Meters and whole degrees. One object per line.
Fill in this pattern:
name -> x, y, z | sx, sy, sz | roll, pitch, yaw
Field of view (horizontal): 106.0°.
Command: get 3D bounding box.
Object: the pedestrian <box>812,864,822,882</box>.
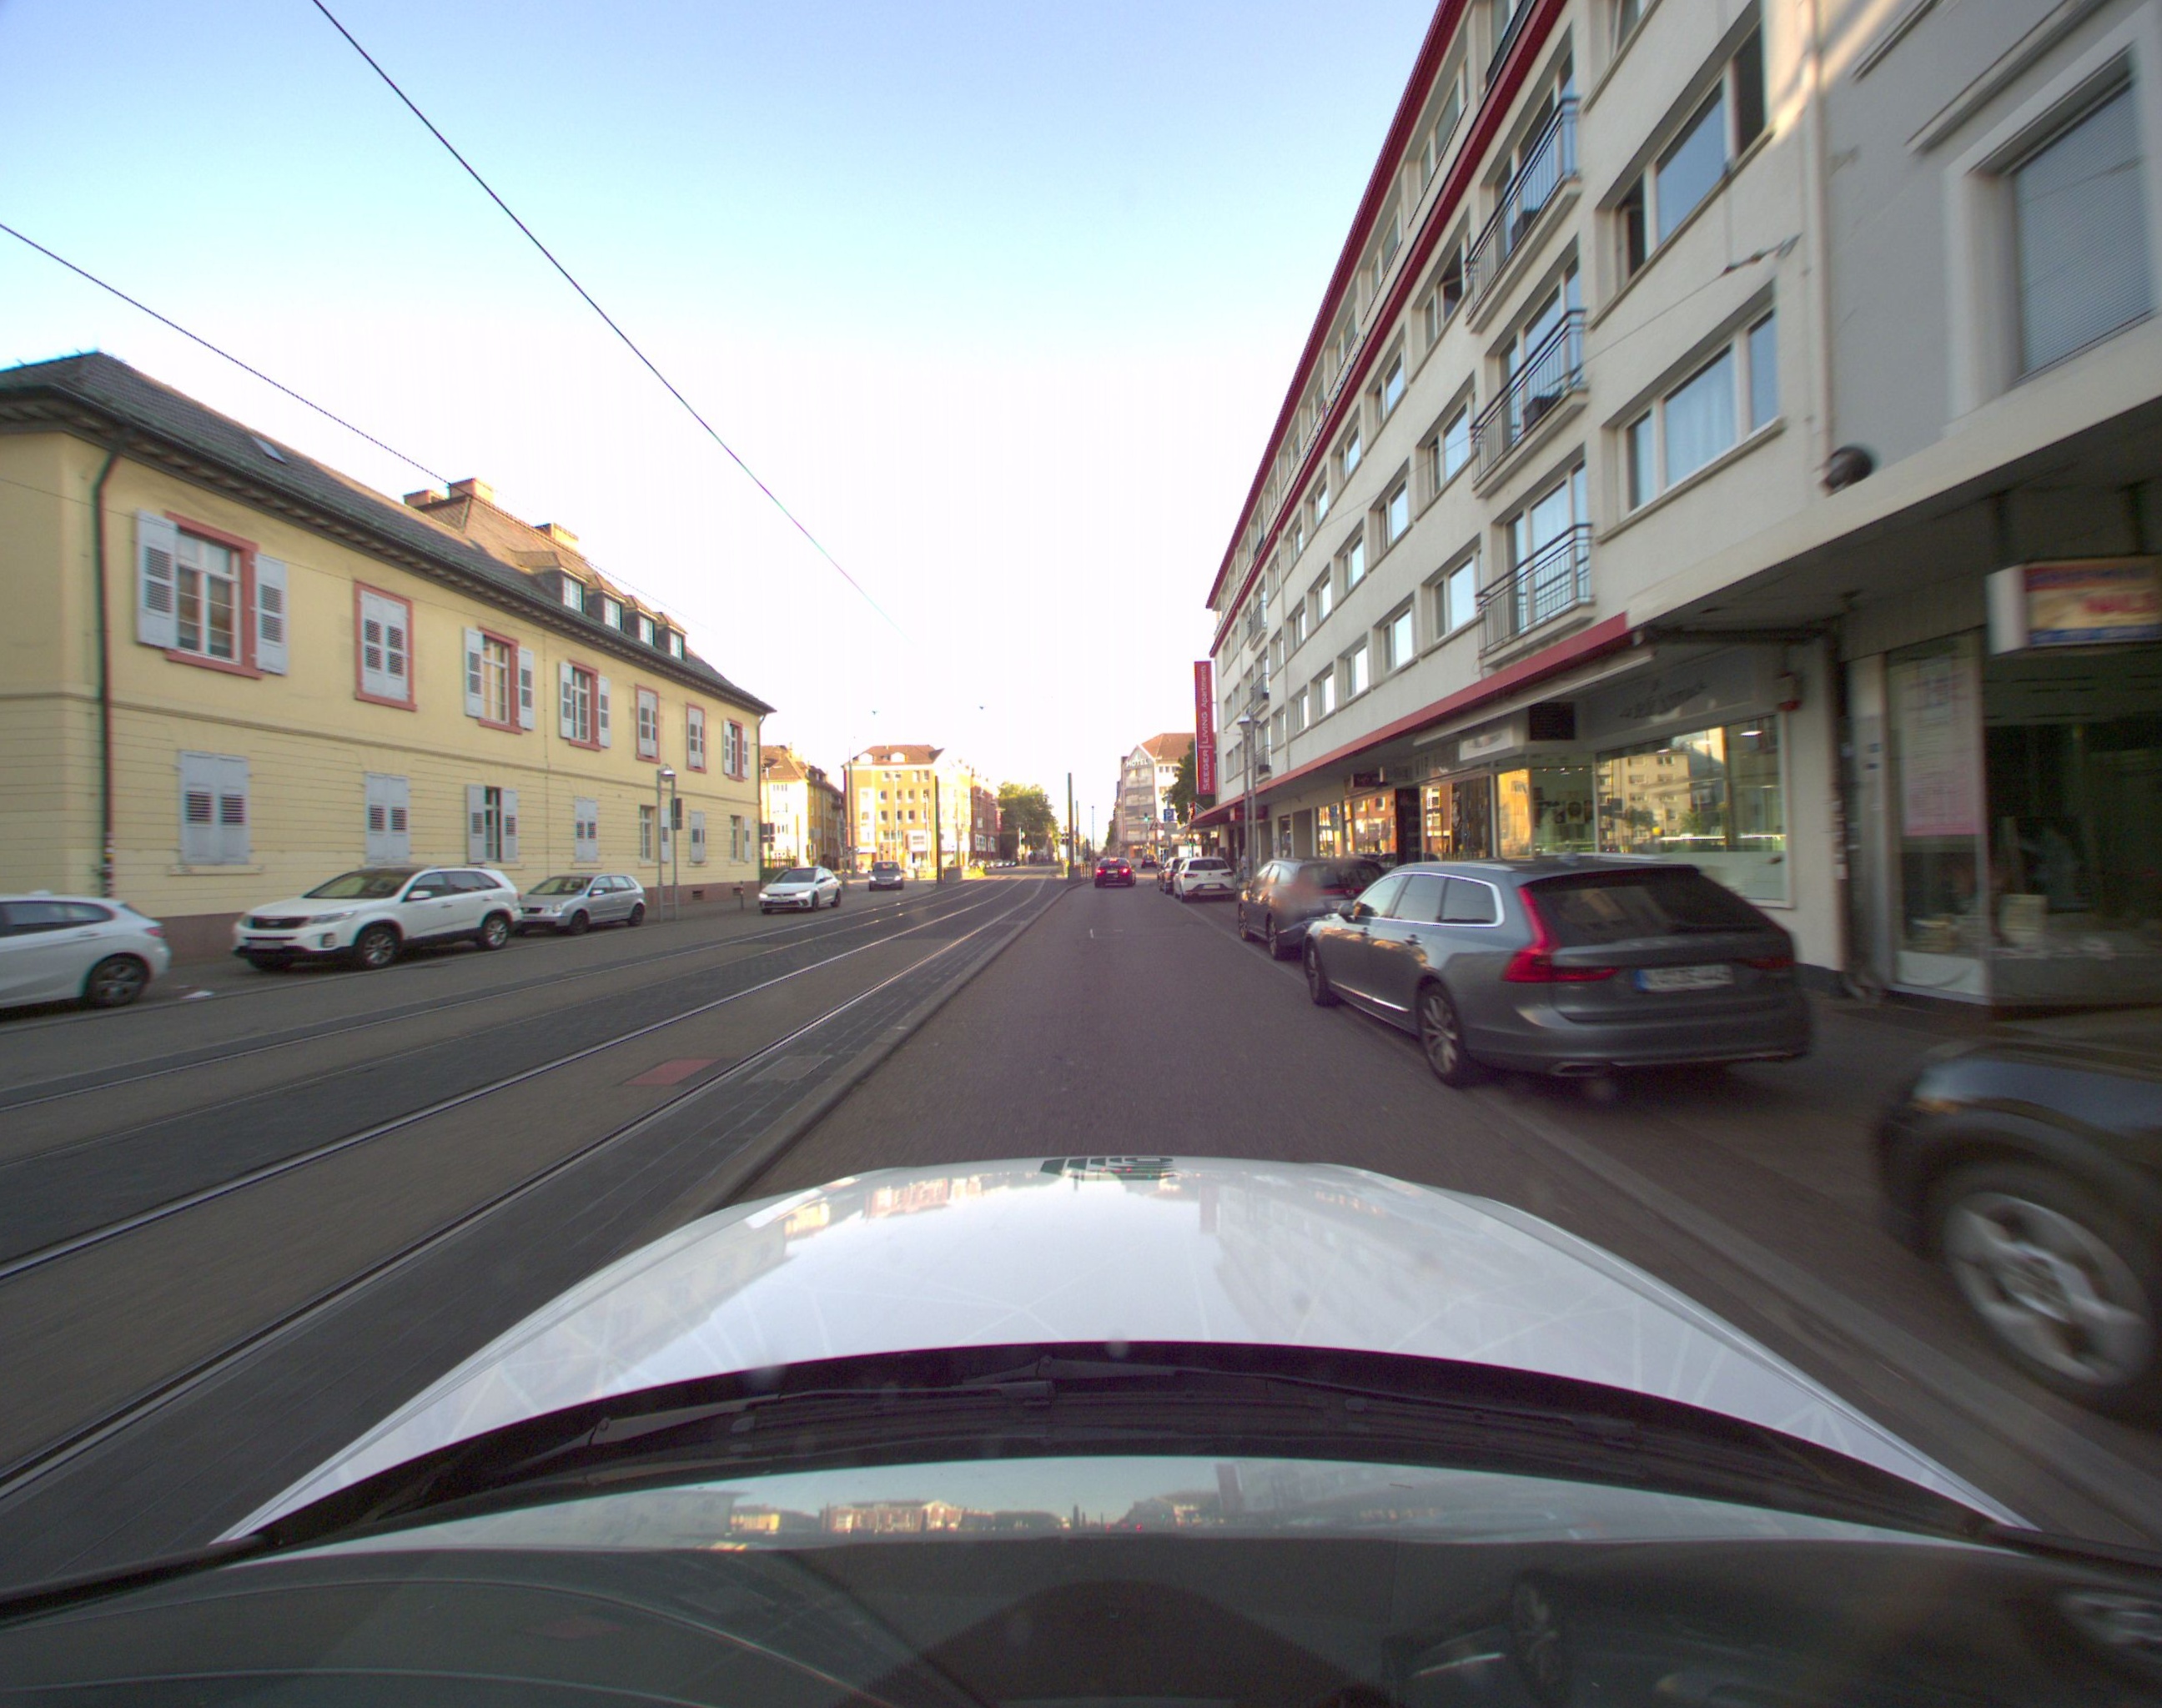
pedestrian -> -27.388, 1.942, 84.520 | 0.885, 1.868, 0.970 | -2, -1, -20

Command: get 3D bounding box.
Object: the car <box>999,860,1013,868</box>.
car -> -14.634, 1.958, 160.010 | 1.659, 1.448, 4.213 | -2, 0, 10

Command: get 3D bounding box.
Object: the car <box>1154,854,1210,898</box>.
car -> 3.964, 0.821, 32.538 | 1.728, 1.512, 4.688 | -3, 0, 2

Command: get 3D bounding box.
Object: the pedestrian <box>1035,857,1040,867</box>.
pedestrian -> -8.930, 1.709, 166.928 | 0.984, 2.014, 0.726 | 0, -1, 0

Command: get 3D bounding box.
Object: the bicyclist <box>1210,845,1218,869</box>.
bicyclist -> 10.232, 0.210, 62.656 | 0.464, 1.830, 0.558 | -1, 0, -7

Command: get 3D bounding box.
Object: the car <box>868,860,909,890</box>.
car -> -10.463, 1.089, 44.544 | 1.734, 1.512, 4.024 | -2, 0, -8

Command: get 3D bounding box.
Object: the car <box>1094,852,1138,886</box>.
car -> 1.818, 0.730, 41.229 | 1.984, 1.585, 4.006 | -2, 0, 5

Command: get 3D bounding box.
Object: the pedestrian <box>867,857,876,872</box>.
pedestrian -> -26.243, 1.286, 102.178 | 0.939, 1.868, 0.836 | 0, -1, -8

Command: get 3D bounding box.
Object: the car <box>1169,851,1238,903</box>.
car -> 4.012, 0.706, 27.242 | 1.778, 1.512, 4.053 | -3, 0, 2

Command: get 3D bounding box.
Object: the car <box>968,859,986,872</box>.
car -> -15.507, 1.714, 121.554 | 1.988, 1.901, 4.809 | -2, 0, -1

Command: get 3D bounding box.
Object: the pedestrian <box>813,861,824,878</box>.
pedestrian -> -31.422, 1.834, 97.433 | 1.027, 1.944, 1.091 | -2, -1, -26

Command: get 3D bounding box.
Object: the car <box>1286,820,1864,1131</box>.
car -> 3.152, 0.637, 6.576 | 1.784, 1.512, 4.712 | -3, 0, 0

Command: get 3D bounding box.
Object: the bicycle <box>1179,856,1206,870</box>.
bicycle -> 8.399, 0.673, 61.490 | 0.844, 1.020, 2.055 | -1, 0, -36

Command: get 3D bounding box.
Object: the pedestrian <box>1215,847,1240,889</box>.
pedestrian -> 6.111, 0.580, 33.945 | 0.824, 1.718, 0.843 | -3, 0, 2

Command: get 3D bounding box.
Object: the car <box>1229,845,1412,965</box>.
car -> 3.574, 0.689, 13.000 | 1.728, 1.512, 4.305 | -3, 0, 2

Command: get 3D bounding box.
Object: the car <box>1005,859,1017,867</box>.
car -> -14.600, 1.913, 169.981 | 1.988, 1.585, 4.477 | -2, 0, -1

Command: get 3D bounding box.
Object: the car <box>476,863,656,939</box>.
car -> -12.728, 1.090, 20.499 | 1.807, 1.617, 4.214 | 1, 0, 0

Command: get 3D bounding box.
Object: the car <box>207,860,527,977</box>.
car -> -12.618, 1.021, 14.896 | 1.806, 1.786, 4.497 | 1, 0, 0

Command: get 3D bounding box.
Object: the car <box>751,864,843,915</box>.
car -> -9.522, 1.128, 27.671 | 1.802, 1.512, 4.031 | -2, 0, -2

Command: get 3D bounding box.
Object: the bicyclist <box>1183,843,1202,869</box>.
bicyclist -> 8.433, 0.136, 61.403 | 0.844, 1.917, 1.103 | -1, -1, -36

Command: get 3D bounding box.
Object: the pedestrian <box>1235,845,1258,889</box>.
pedestrian -> 6.713, 0.518, 33.068 | 0.726, 1.741, 0.863 | -3, 0, 2

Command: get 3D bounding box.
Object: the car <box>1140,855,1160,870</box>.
car -> 7.693, 0.888, 90.609 | 1.986, 1.552, 4.002 | -2, 0, 2

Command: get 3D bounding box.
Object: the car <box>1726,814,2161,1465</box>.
car -> 3.320, 0.639, 1.140 | 1.679, 1.512, 4.037 | -3, 0, 2

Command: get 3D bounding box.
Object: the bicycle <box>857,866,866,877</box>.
bicycle -> -25.752, 2.049, 95.619 | 0.616, 1.325, 2.014 | 0, 0, -2

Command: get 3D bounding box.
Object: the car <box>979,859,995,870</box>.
car -> -15.183, 1.666, 131.945 | 1.988, 1.585, 4.585 | -2, 0, -1

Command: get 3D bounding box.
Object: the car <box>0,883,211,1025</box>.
car -> -12.954, 1.180, 8.957 | 1.805, 1.512, 4.436 | -2, 0, 3
